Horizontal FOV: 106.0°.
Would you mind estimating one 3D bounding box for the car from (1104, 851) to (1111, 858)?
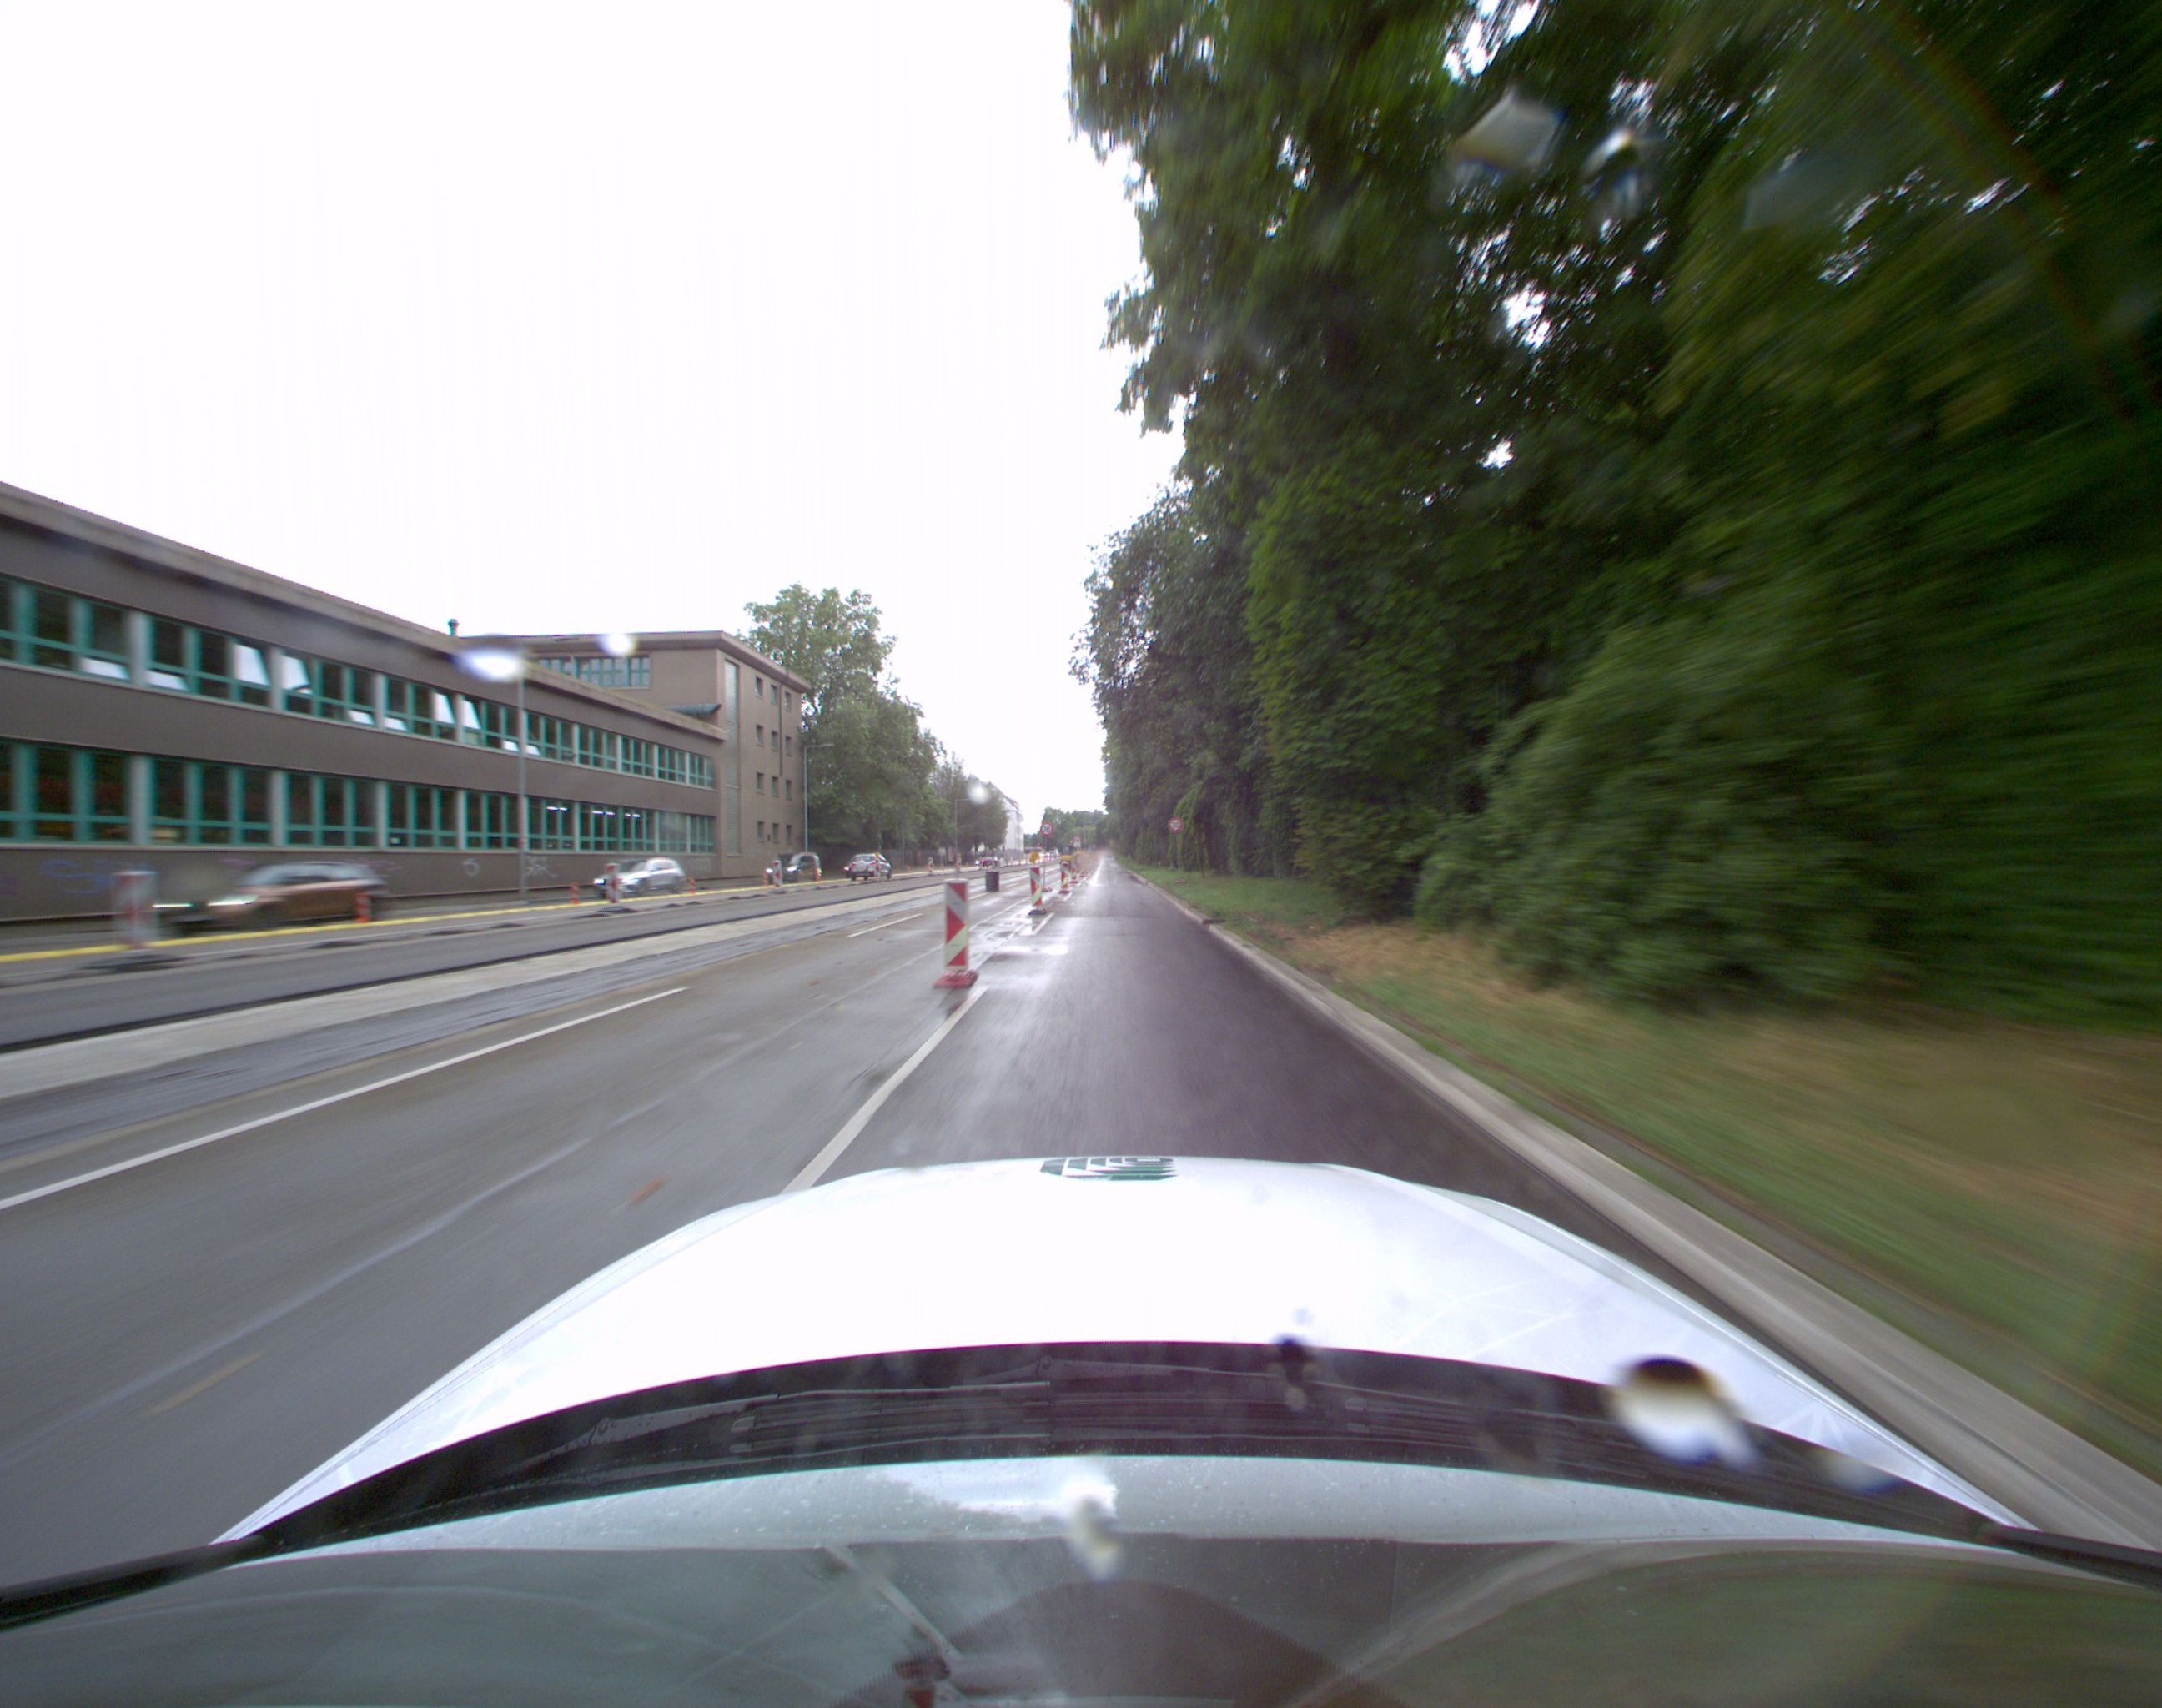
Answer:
[{"bbox_3d":[7.033,0.135,216.046,1.986,1.673,4.002,0,-1,2],"label":"car"}]

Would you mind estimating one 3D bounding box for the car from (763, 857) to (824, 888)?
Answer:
[{"bbox_3d":[-18.735,1.183,53.327,1.987,1.919,5.364,0,-1,1],"label":"car"}]

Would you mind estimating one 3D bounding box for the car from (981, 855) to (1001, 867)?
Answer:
[{"bbox_3d":[-11.507,0.944,104.556,1.986,1.519,4.001,0,-1,1],"label":"car"}]

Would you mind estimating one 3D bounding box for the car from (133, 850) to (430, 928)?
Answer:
[{"bbox_3d":[-17.157,0.704,17.898,1.886,1.502,4.520,0,-1,3],"label":"car"}]

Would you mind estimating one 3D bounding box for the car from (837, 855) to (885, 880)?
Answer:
[{"bbox_3d":[-16.441,1.006,61.139,1.985,1.780,4.959,0,-1,4],"label":"car"}]

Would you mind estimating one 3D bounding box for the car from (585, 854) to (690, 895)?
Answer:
[{"bbox_3d":[-19.620,0.865,36.324,1.931,1.706,4.935,0,-1,1],"label":"car"}]

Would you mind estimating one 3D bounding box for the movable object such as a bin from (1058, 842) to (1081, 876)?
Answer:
[{"bbox_3d":[-1.103,0.511,81.918,1.986,3.367,5.984,0,-1,2],"label":"movable object such as a bin"}]

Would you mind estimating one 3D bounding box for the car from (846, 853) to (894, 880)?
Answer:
[{"bbox_3d":[-13.152,0.772,50.962,1.848,1.648,4.001,0,-1,2],"label":"car"}]
